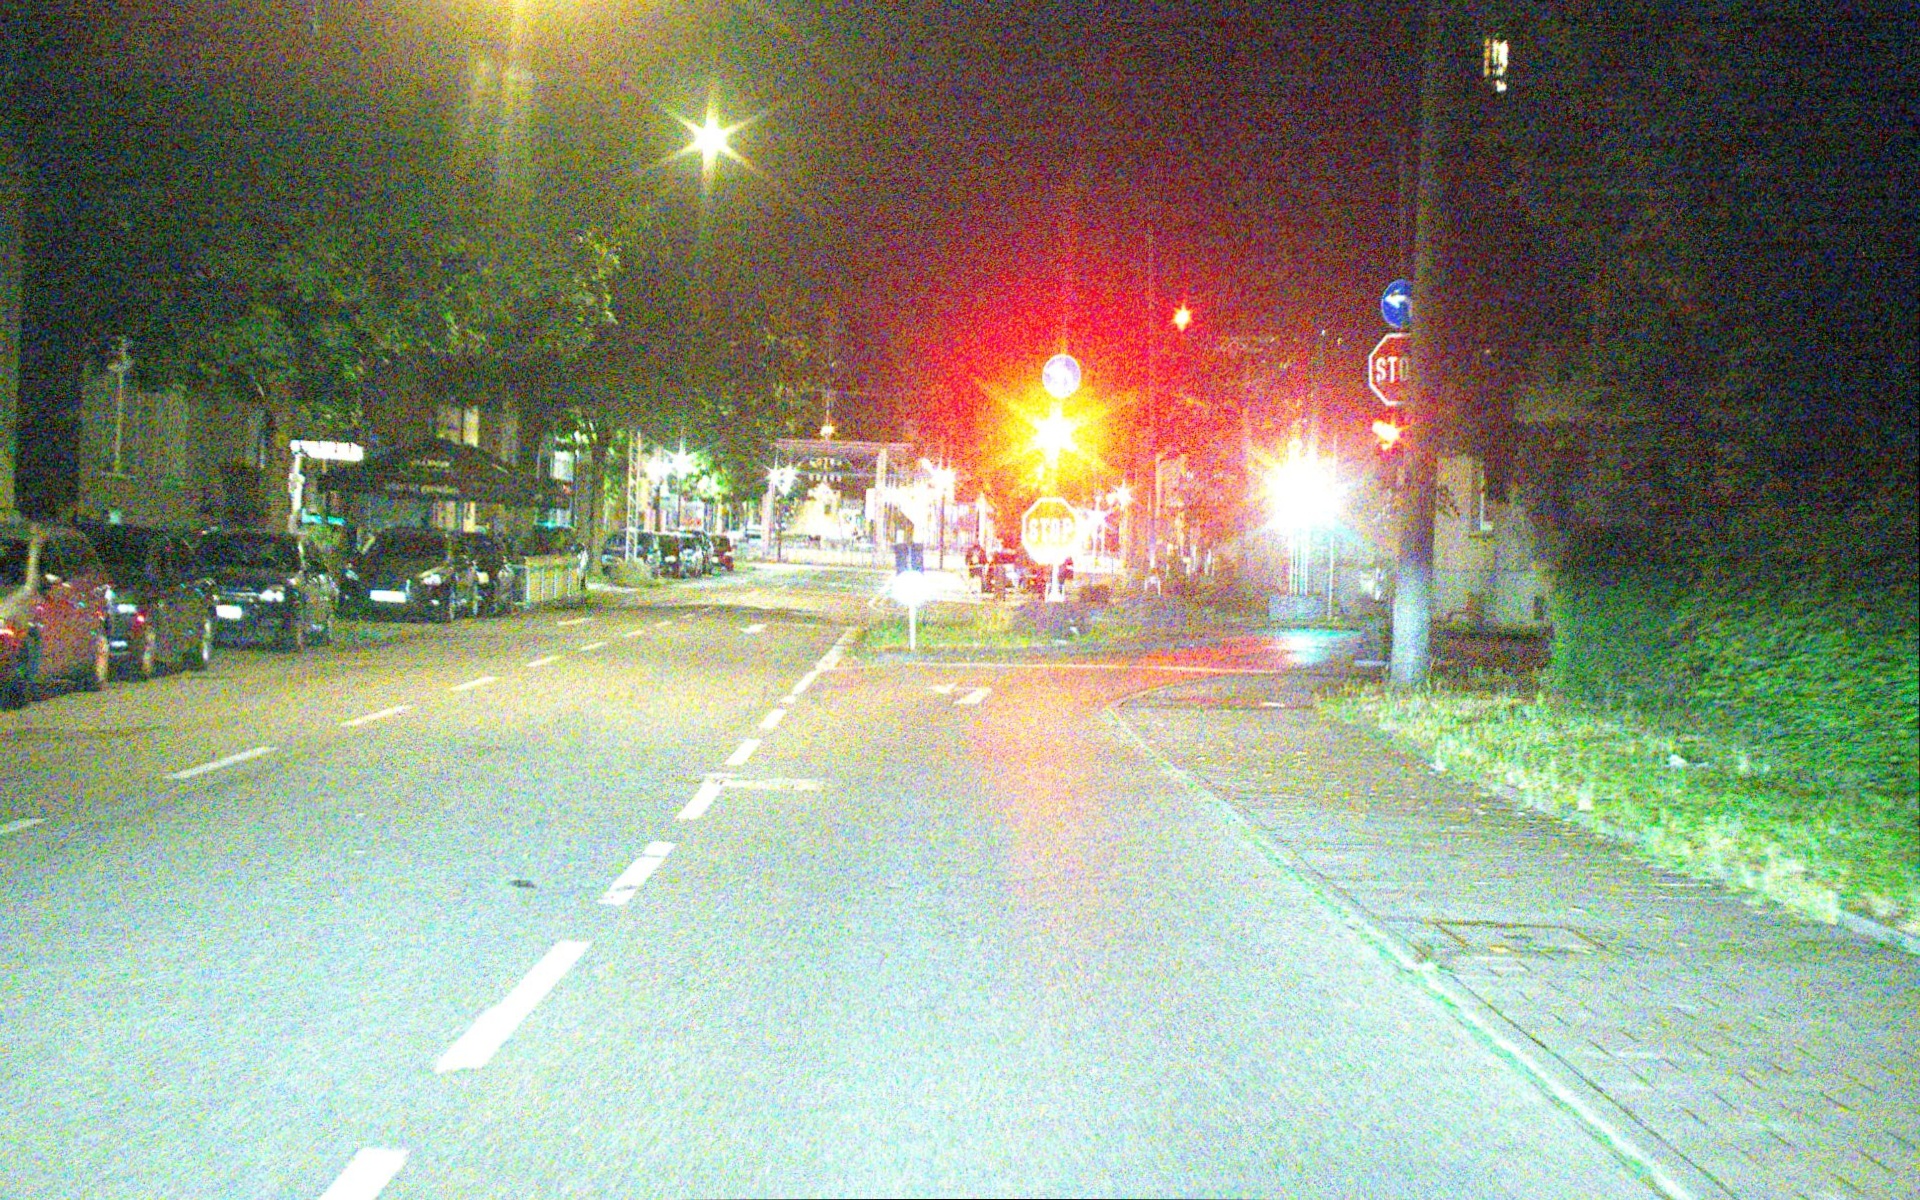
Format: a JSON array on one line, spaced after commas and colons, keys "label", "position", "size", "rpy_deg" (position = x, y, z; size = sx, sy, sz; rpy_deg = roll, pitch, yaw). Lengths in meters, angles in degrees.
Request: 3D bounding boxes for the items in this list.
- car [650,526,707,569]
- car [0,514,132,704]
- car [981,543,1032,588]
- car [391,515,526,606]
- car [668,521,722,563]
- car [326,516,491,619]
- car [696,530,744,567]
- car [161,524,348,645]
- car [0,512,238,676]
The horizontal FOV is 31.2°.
[{"label": "car", "position": [-9.592, -1.802, 117.379], "size": [1.651, 1.426, 4.000], "rpy_deg": [1, 1, -1]}, {"label": "car", "position": [-8.402, 0.011, 29.128], "size": [1.768, 1.480, 4.768], "rpy_deg": [1, 1, -2]}, {"label": "car", "position": [1.544, -1.166, 113.830], "size": [1.651, 1.426, 4.000], "rpy_deg": [1, 1, 1]}, {"label": "car", "position": [-8.802, -0.708, 60.683], "size": [1.803, 1.476, 4.323], "rpy_deg": [2, 1, -1]}, {"label": "car", "position": [-9.579, -2.100, 124.262], "size": [1.651, 1.426, 4.000], "rpy_deg": [1, 1, -1]}, {"label": "car", "position": [-8.877, -0.561, 55.690], "size": [1.899, 1.466, 4.452], "rpy_deg": [4, 1, 0]}, {"label": "car", "position": [-9.636, -2.091, 138.001], "size": [1.651, 1.426, 4.000], "rpy_deg": [1, 1, -1]}, {"label": "car", "position": [-8.667, -0.217, 42.532], "size": [1.622, 1.378, 4.452], "rpy_deg": [1, 1, -3]}, {"label": "car", "position": [-8.534, -0.101, 34.191], "size": [1.768, 1.480, 4.864], "rpy_deg": [1, 1, -1]}]
